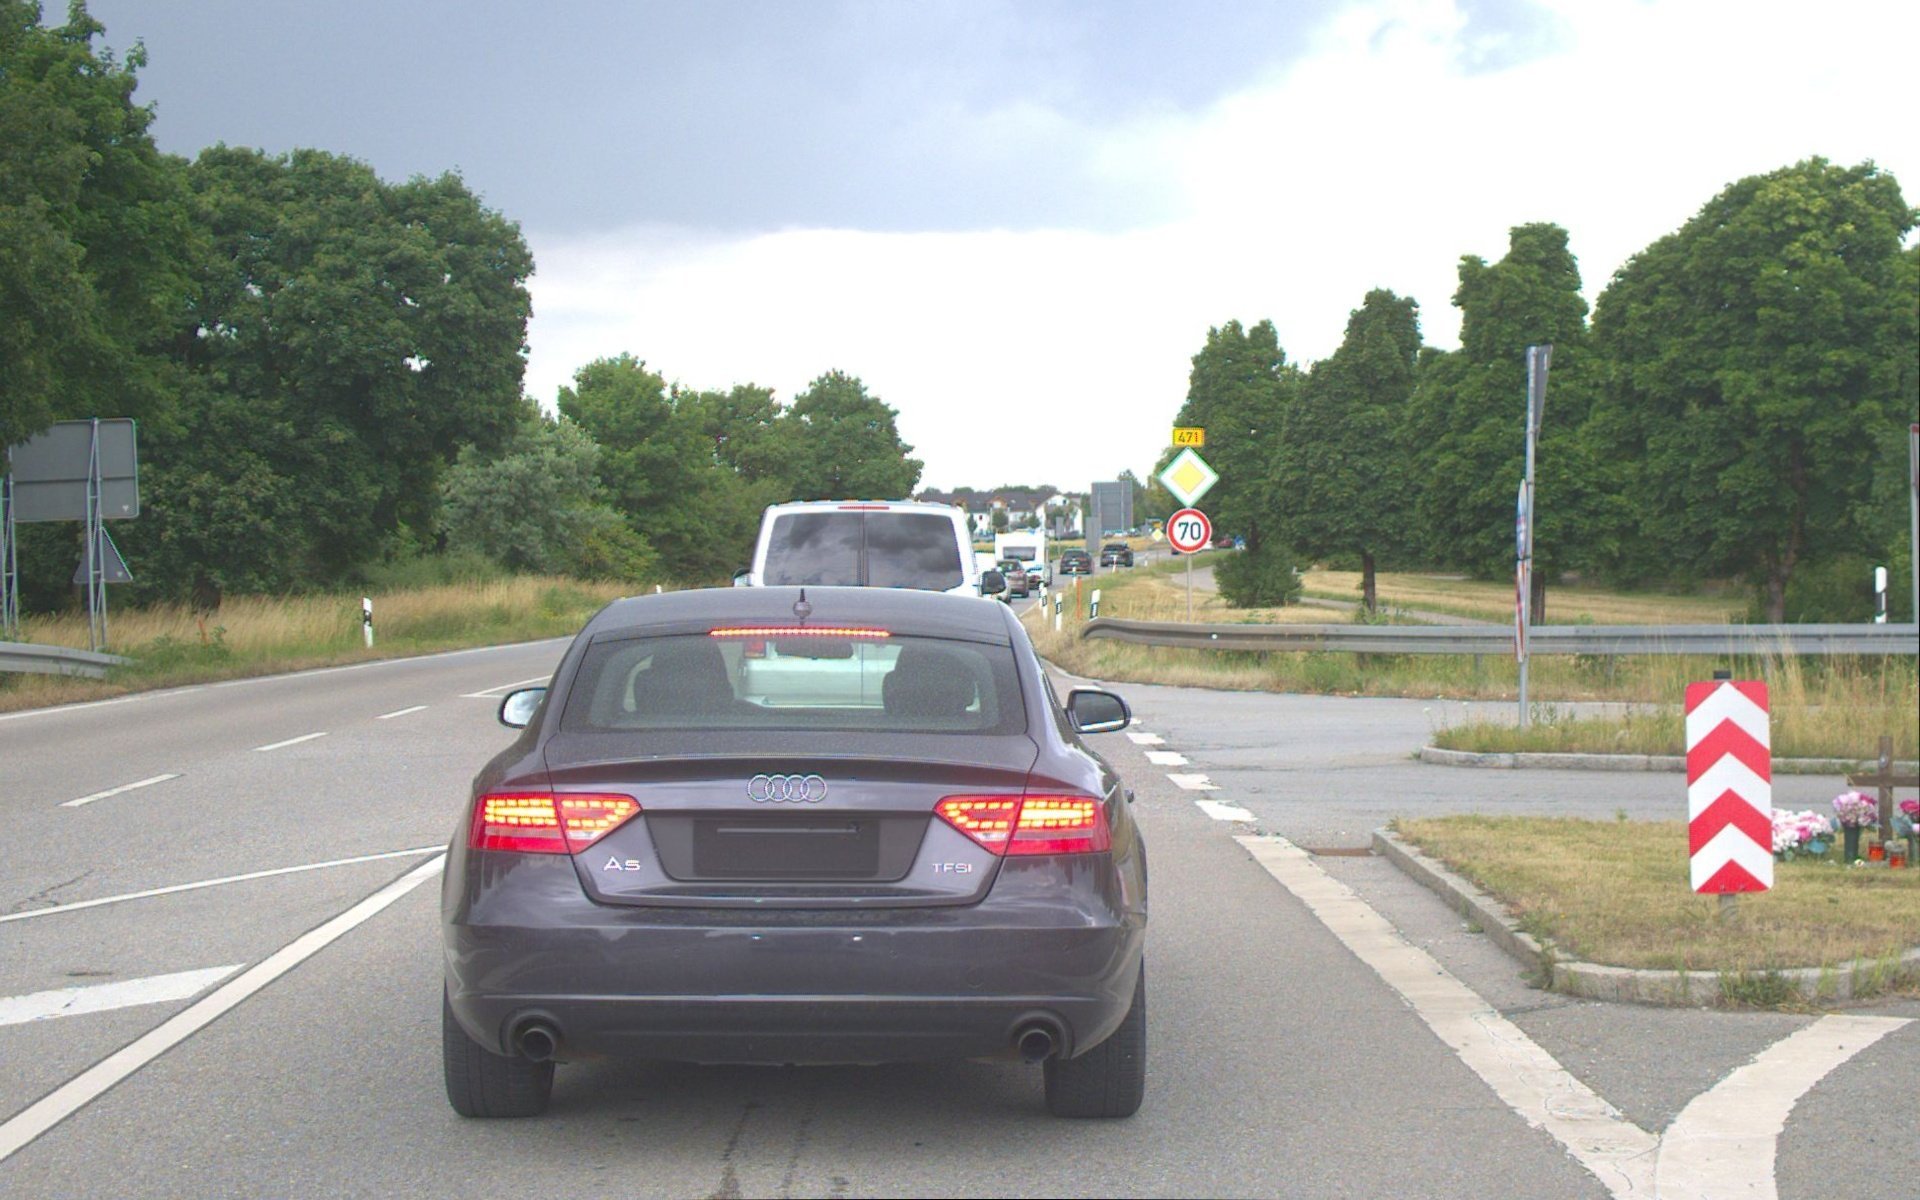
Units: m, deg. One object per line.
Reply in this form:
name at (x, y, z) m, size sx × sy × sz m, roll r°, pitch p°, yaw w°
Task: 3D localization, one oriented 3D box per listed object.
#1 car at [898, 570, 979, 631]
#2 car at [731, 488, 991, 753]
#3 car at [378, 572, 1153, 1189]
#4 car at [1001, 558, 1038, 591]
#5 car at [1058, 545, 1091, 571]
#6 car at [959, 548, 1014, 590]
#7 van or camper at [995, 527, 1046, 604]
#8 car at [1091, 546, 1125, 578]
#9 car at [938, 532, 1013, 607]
car at (-0.501, -0.010, 84.053) m, size 1.796 × 1.459 × 3.248 m, roll 0°, pitch 1°, yaw 3°
car at (-0.732, 0.108, 26.569) m, size 1.838 × 1.876 × 4.000 m, roll 1°, pitch 1°, yaw -1°
car at (-0.475, 0.637, 9.978) m, size 1.783 × 1.372 × 4.000 m, roll 1°, pitch 1°, yaw -1°
car at (2.440, -1.055, 140.683) m, size 1.258 × 1.349 × 3.465 m, roll 0°, pitch 1°, yaw 5°
car at (6.526, -2.402, 196.186) m, size 1.719 × 1.446 × 4.000 m, roll 1°, pitch 1°, yaw 1°
car at (1.010, -1.162, 128.303) m, size 1.736 × 1.509 × 3.746 m, roll 0°, pitch 1°, yaw 5°
van or camper at (2.821, -1.593, 159.056) m, size 2.340 × 3.469 × 5.718 m, roll 0°, pitch 1°, yaw 2°
car at (9.603, -2.471, 222.872) m, size 1.993 × 2.007 × 4.000 m, roll 0°, pitch 1°, yaw -1°
car at (0.468, -0.874, 98.595) m, size 1.994 × 2.081 × 4.000 m, roll 0°, pitch 1°, yaw 2°
